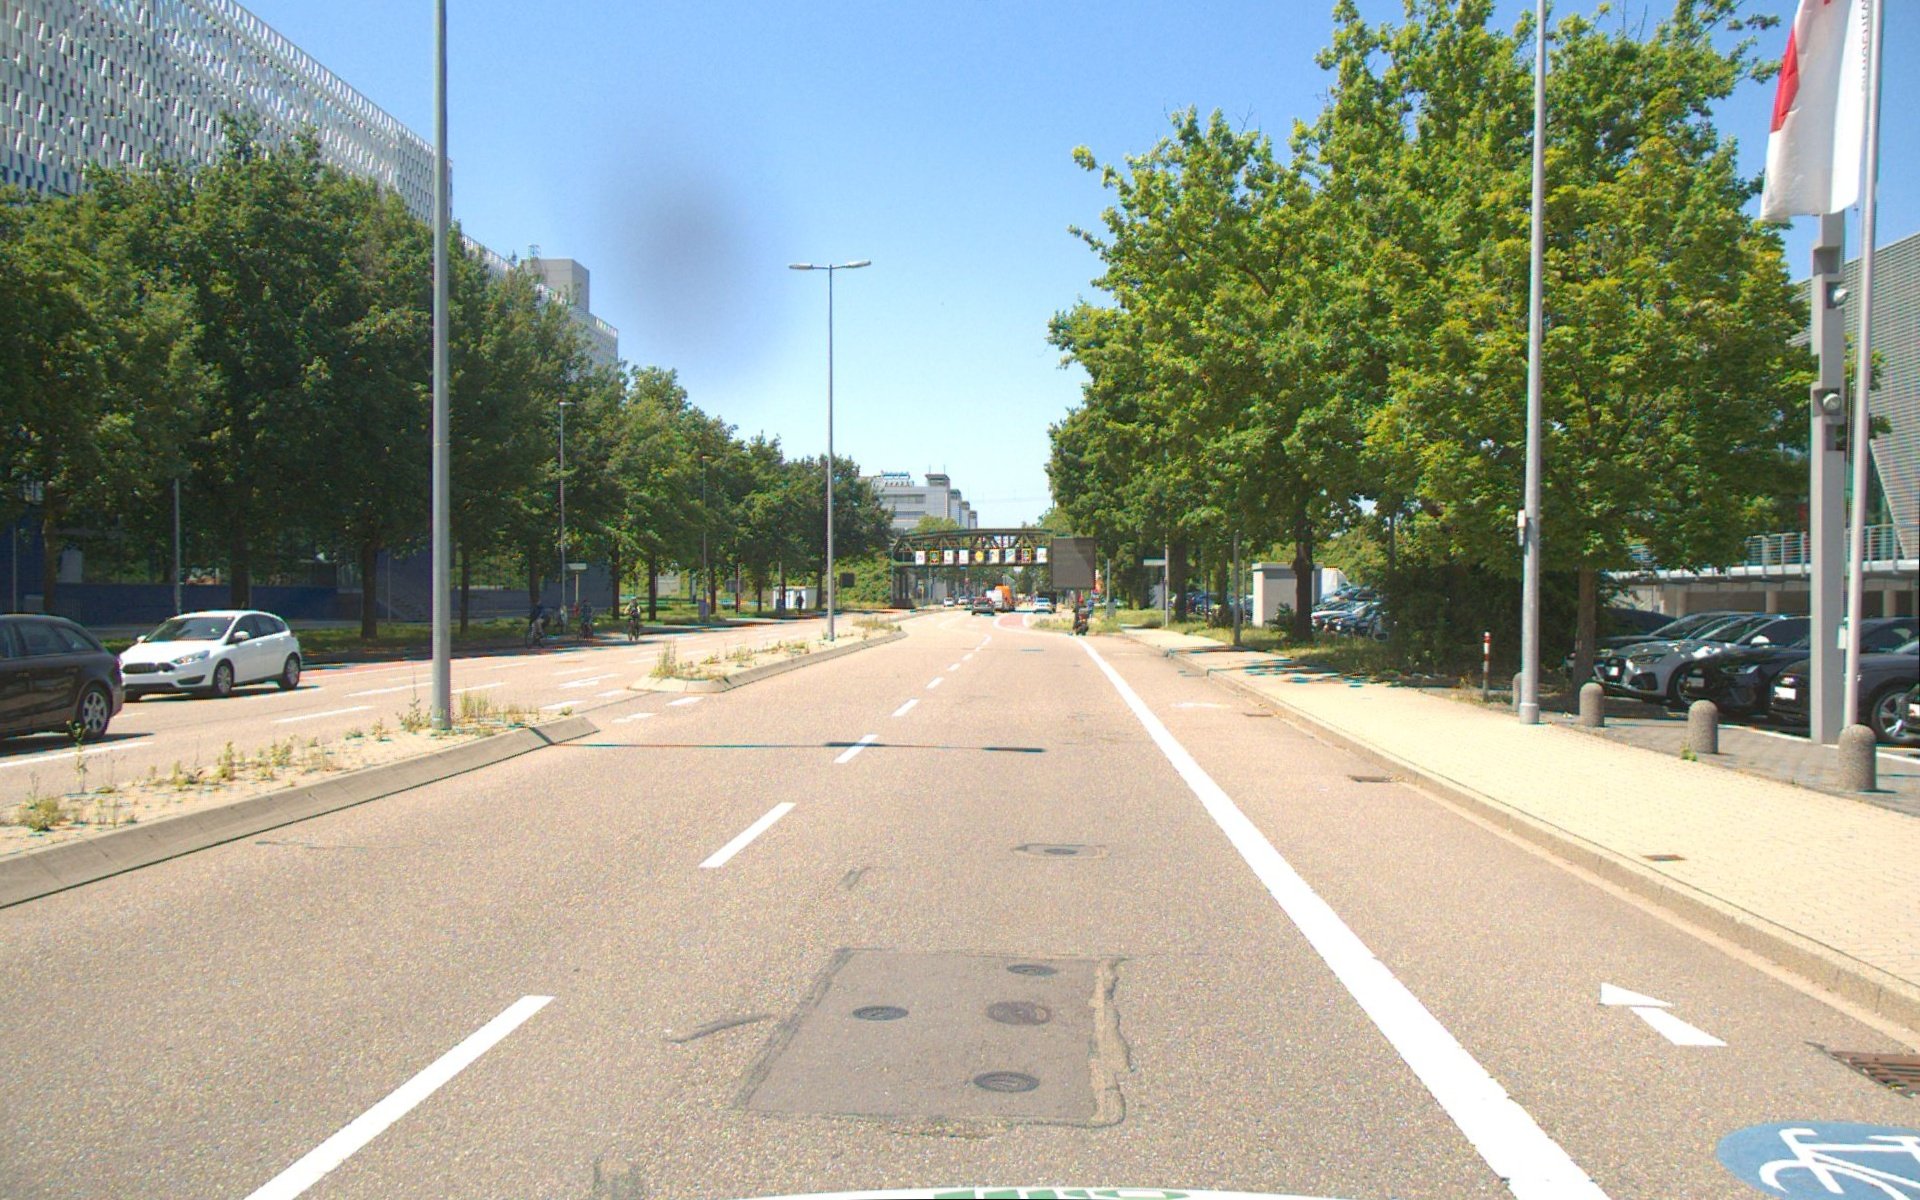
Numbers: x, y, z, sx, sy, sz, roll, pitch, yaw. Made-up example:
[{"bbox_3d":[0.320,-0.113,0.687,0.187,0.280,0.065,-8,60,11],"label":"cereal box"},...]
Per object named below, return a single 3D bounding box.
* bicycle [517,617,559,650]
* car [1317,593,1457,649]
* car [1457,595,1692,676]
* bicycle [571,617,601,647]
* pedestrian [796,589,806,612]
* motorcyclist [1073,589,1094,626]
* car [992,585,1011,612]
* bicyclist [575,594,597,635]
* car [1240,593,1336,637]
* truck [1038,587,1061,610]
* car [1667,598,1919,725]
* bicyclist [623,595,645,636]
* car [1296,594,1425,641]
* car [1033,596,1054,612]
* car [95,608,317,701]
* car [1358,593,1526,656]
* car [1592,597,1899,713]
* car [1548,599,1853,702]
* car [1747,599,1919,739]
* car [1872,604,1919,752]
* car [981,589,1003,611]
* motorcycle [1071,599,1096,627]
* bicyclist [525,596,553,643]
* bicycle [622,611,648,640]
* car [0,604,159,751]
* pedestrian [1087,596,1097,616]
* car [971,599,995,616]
[{"bbox_3d":[-15.613,1.238,61.301,0.723,1.145,2.436,0,0,5],"label":"bicycle"},{"bbox_3d":[13.922,0.678,54.073,4.045,1.404,1.779,5,0,3],"label":"car"},{"bbox_3d":[13.258,0.743,35.864,4.357,1.417,1.834,4,0,3],"label":"car"},{"bbox_3d":[-15.098,1.280,66.782,0.624,1.153,1.972,0,0,5],"label":"bicycle"},{"bbox_3d":[-13.273,0.071,138.113,0.728,1.917,0.578,0,0,3],"label":"pedestrian"},{"bbox_3d":[5.260,0.316,70.470,0.706,1.556,0.869,2,0,-7],"label":"motorcyclist"},{"bbox_3d":[4.553,-0.139,181.819,2.030,2.904,6.766,0,0,2],"label":"car"},{"bbox_3d":[-15.096,0.579,66.775,0.623,1.610,0.885,0,0,6],"label":"bicyclist"},{"bbox_3d":[15.117,0.676,76.355,3.908,1.645,1.797,5,0,-2],"label":"car"},{"bbox_3d":[9.872,-0.152,182.839,2.407,2.452,7.136,2,0,3],"label":"truck"},{"bbox_3d":[11.414,0.789,21.547,3.605,1.478,1.834,3,0,3],"label":"car"},{"bbox_3d":[-13.708,0.649,69.595,0.620,1.657,1.045,-2,0,2],"label":"bicyclist"},{"bbox_3d":[14.330,0.614,59.360,4.134,1.365,1.918,4,0,3],"label":"car"},{"bbox_3d":[7.878,0.355,155.925,1.884,1.445,4.001,1,0,2],"label":"car"},{"bbox_3d":[-13.134,0.904,29.129,1.690,1.471,4.453,-2,0,2],"label":"car"},{"bbox_3d":[13.509,0.670,46.519,4.134,1.431,1.918,4,0,3],"label":"car"},{"bbox_3d":[11.448,0.769,24.285,3.605,1.478,1.834,3,0,3],"label":"car"},{"bbox_3d":[12.070,0.797,27.166,4.144,1.426,1.817,3,1,3],"label":"car"},{"bbox_3d":[11.443,0.814,18.853,4.015,1.478,1.869,3,0,3],"label":"car"},{"bbox_3d":[11.336,0.844,15.938,4.015,1.429,1.869,3,0,3],"label":"car"},{"bbox_3d":[3.018,0.010,156.355,1.952,2.049,4.001,1,0,2],"label":"car"},{"bbox_3d":[5.251,0.544,70.485,0.702,1.124,1.827,2,0,-7],"label":"motorcycle"},{"bbox_3d":[-15.609,0.715,61.318,0.729,1.715,0.953,0,0,6],"label":"bicyclist"},{"bbox_3d":[-13.689,1.062,69.707,0.616,1.179,2.118,-2,0,2],"label":"bicycle"},{"bbox_3d":[-10.474,0.808,17.119,1.690,1.471,4.722,-2,0,5],"label":"car"},{"bbox_3d":[9.285,0.428,116.432,0.611,1.398,0.564,0,0,1],"label":"pedestrian"},{"bbox_3d":[1.867,0.598,134.919,1.861,1.400,4.232,0,0,2],"label":"car"}]
